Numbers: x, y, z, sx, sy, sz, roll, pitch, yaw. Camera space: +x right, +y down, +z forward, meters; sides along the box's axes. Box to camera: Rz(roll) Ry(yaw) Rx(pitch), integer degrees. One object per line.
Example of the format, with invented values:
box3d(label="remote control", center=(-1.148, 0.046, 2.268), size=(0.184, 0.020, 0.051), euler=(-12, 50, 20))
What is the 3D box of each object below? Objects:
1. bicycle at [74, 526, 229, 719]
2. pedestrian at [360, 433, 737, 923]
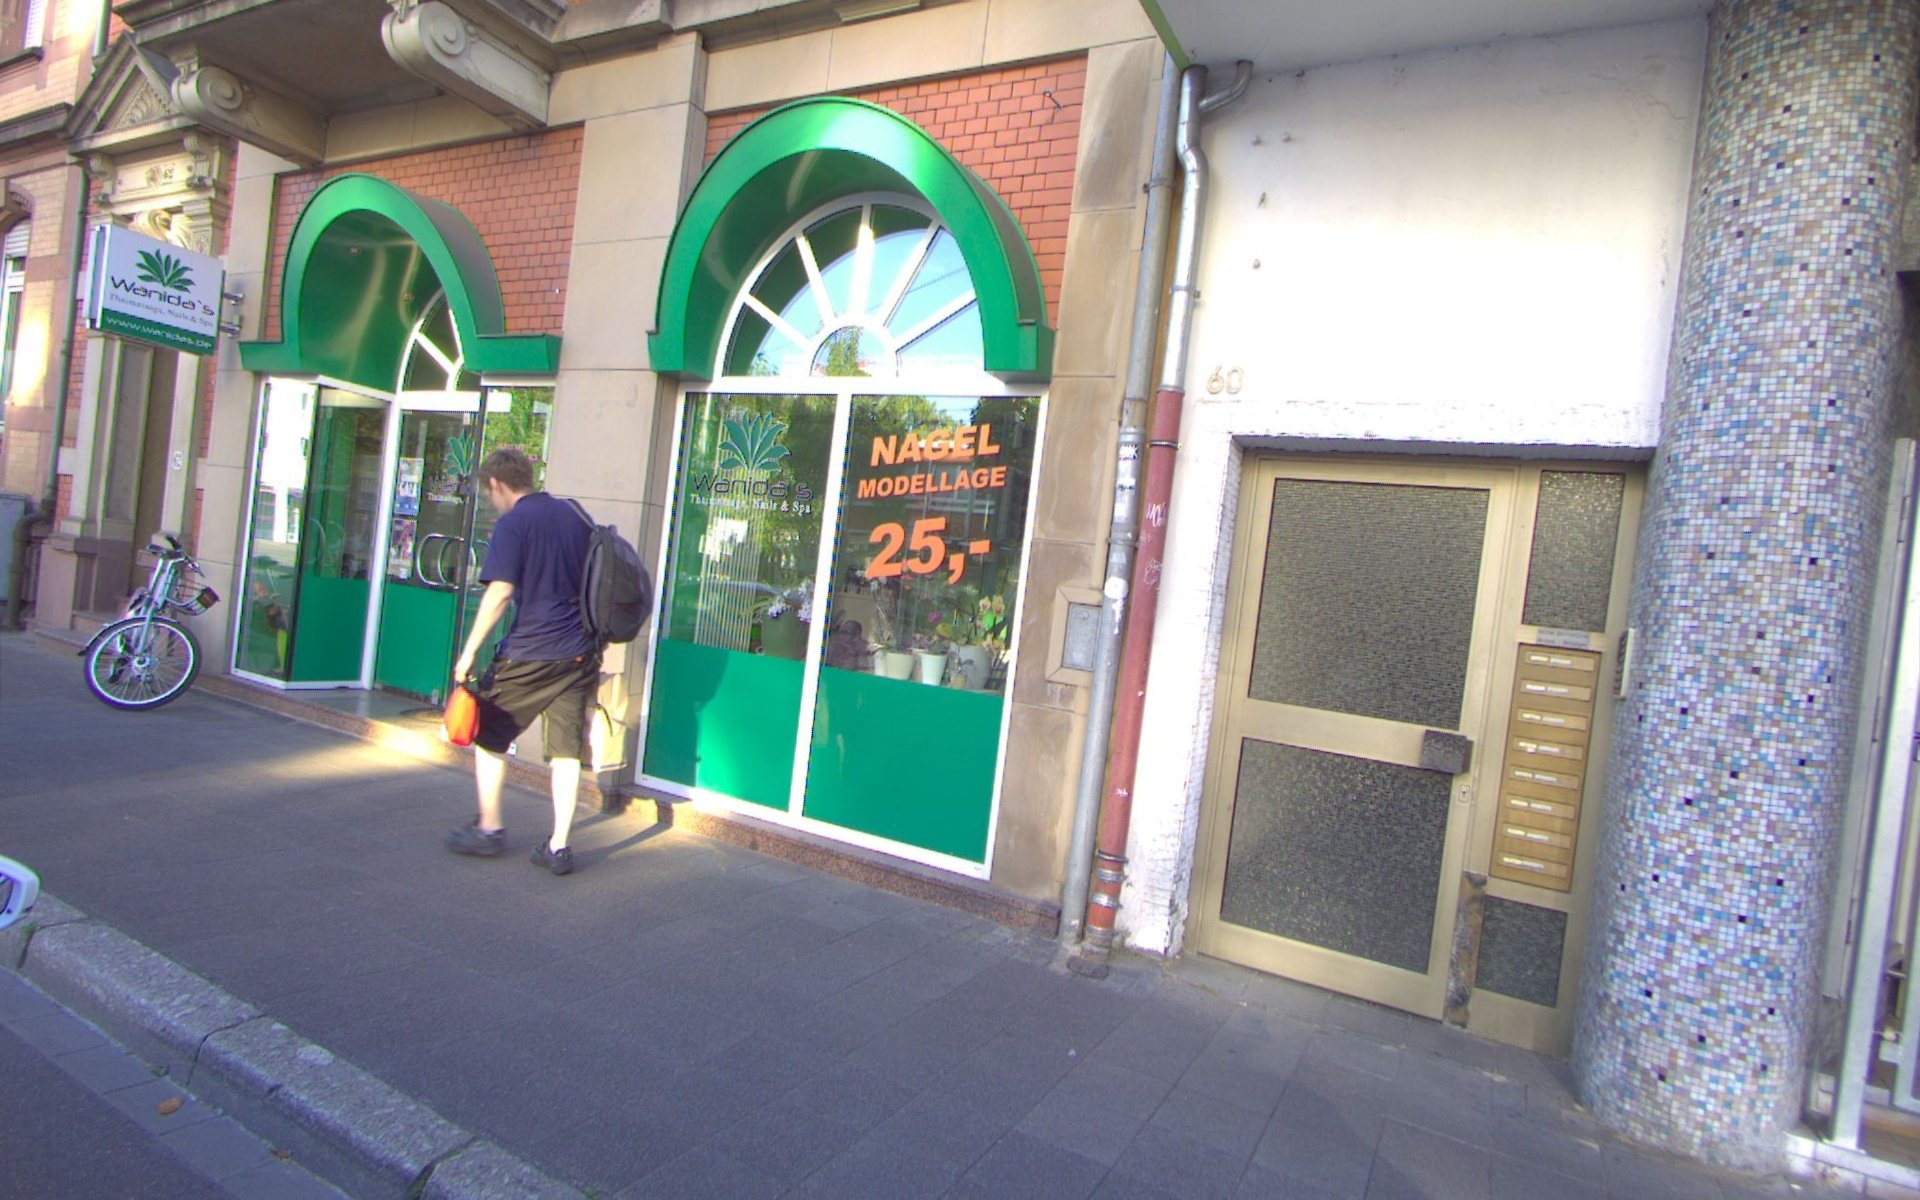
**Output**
box3d(label="bicycle", center=(-5.786, 0.125, 7.163), size=(0.712, 1.167, 1.635), euler=(4, 2, -42))
box3d(label="pedestrian", center=(-1.780, 0.279, 4.419), size=(1.036, 1.816, 0.947), euler=(7, 2, 28))
